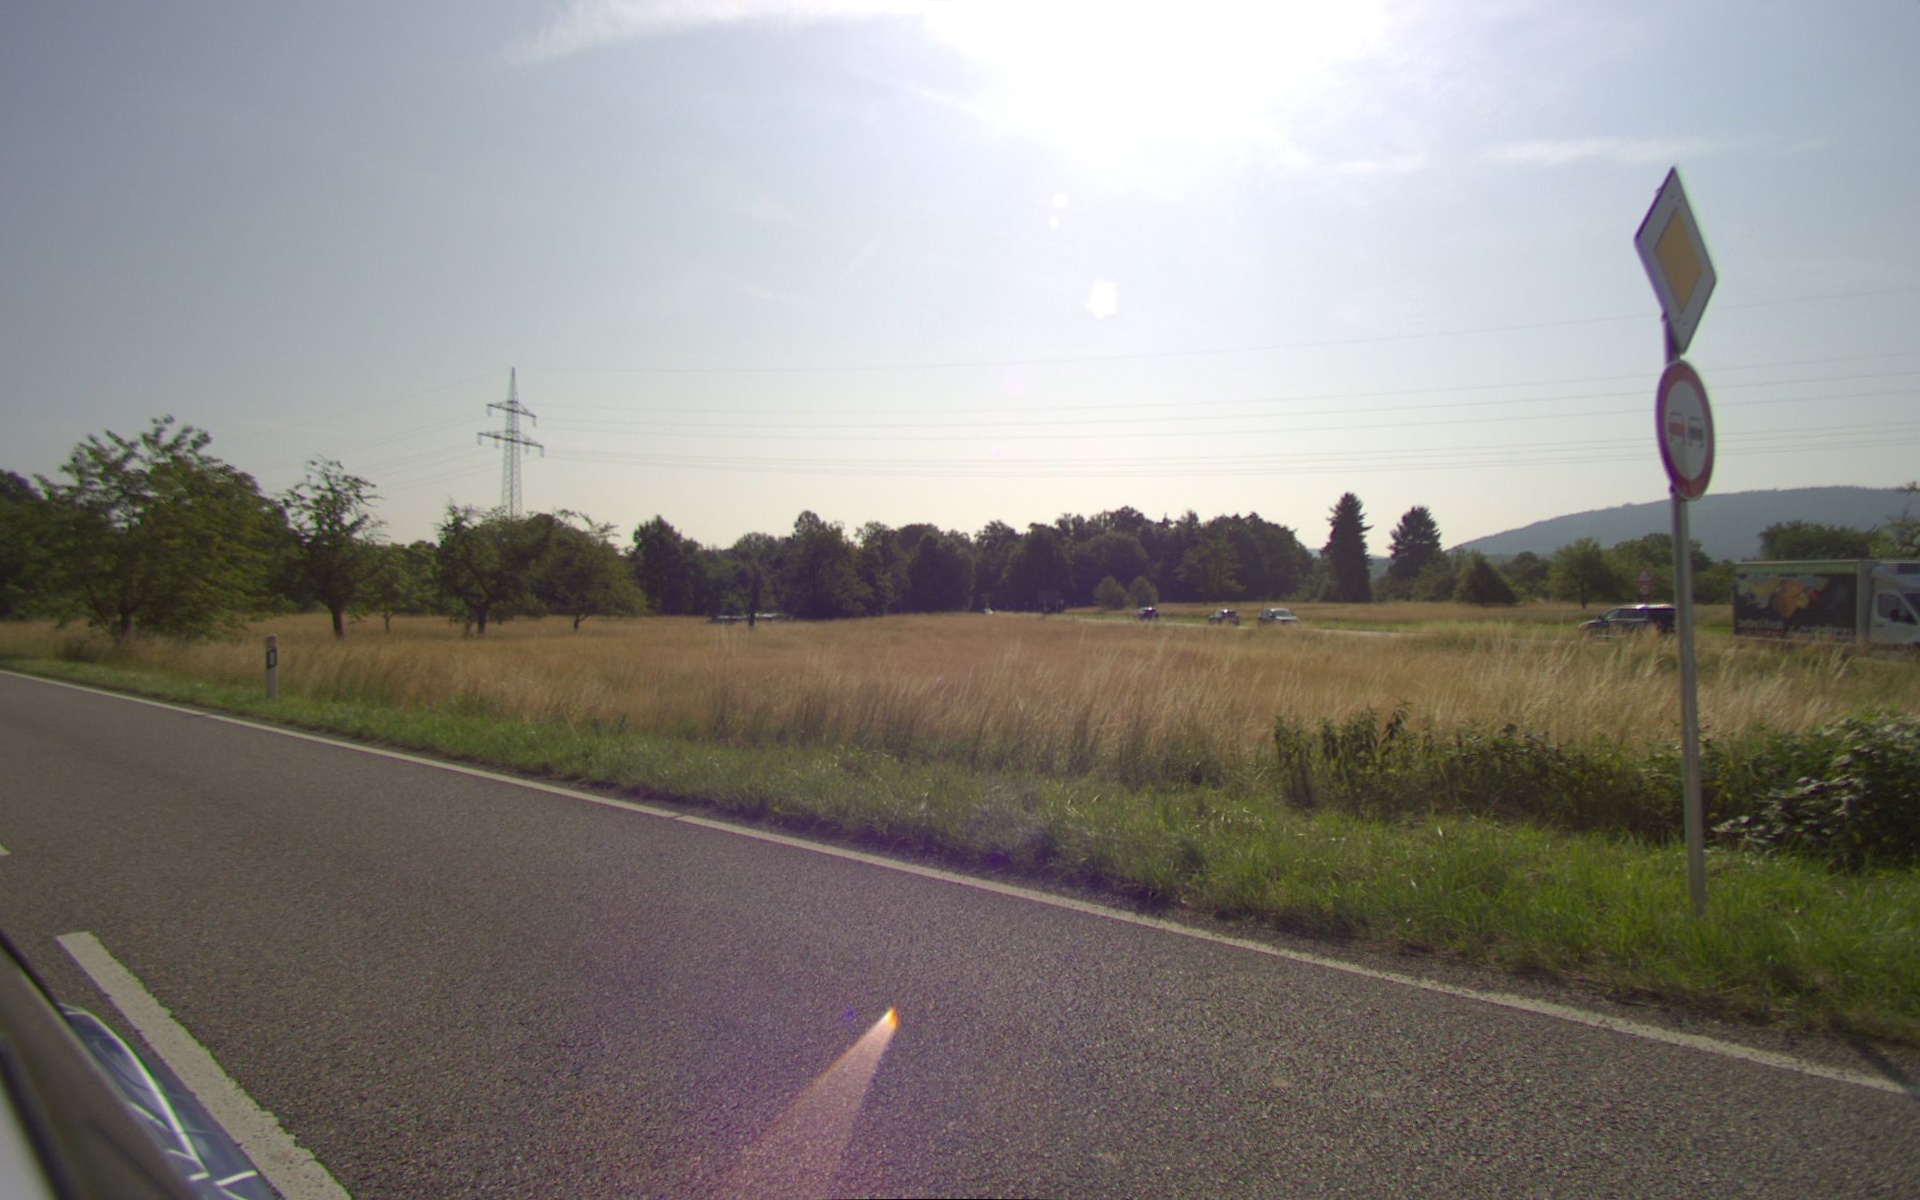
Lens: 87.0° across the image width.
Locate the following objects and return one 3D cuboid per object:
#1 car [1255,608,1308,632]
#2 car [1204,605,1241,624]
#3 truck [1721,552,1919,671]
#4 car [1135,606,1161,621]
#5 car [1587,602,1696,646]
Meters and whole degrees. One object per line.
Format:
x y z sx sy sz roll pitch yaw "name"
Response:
21.828 1.334 68.854 1.789 1.563 4.008 -1 0 -9 "car"
23.087 1.239 89.207 1.790 1.563 4.006 -1 0 -6 "car"
25.878 0.278 28.718 2.545 3.068 7.373 -1 0 -5 "truck"
20.974 1.492 113.061 1.790 1.563 4.006 -1 0 -6 "car"
27.943 0.946 41.622 1.734 1.650 3.904 -1 0 -1 "car"
